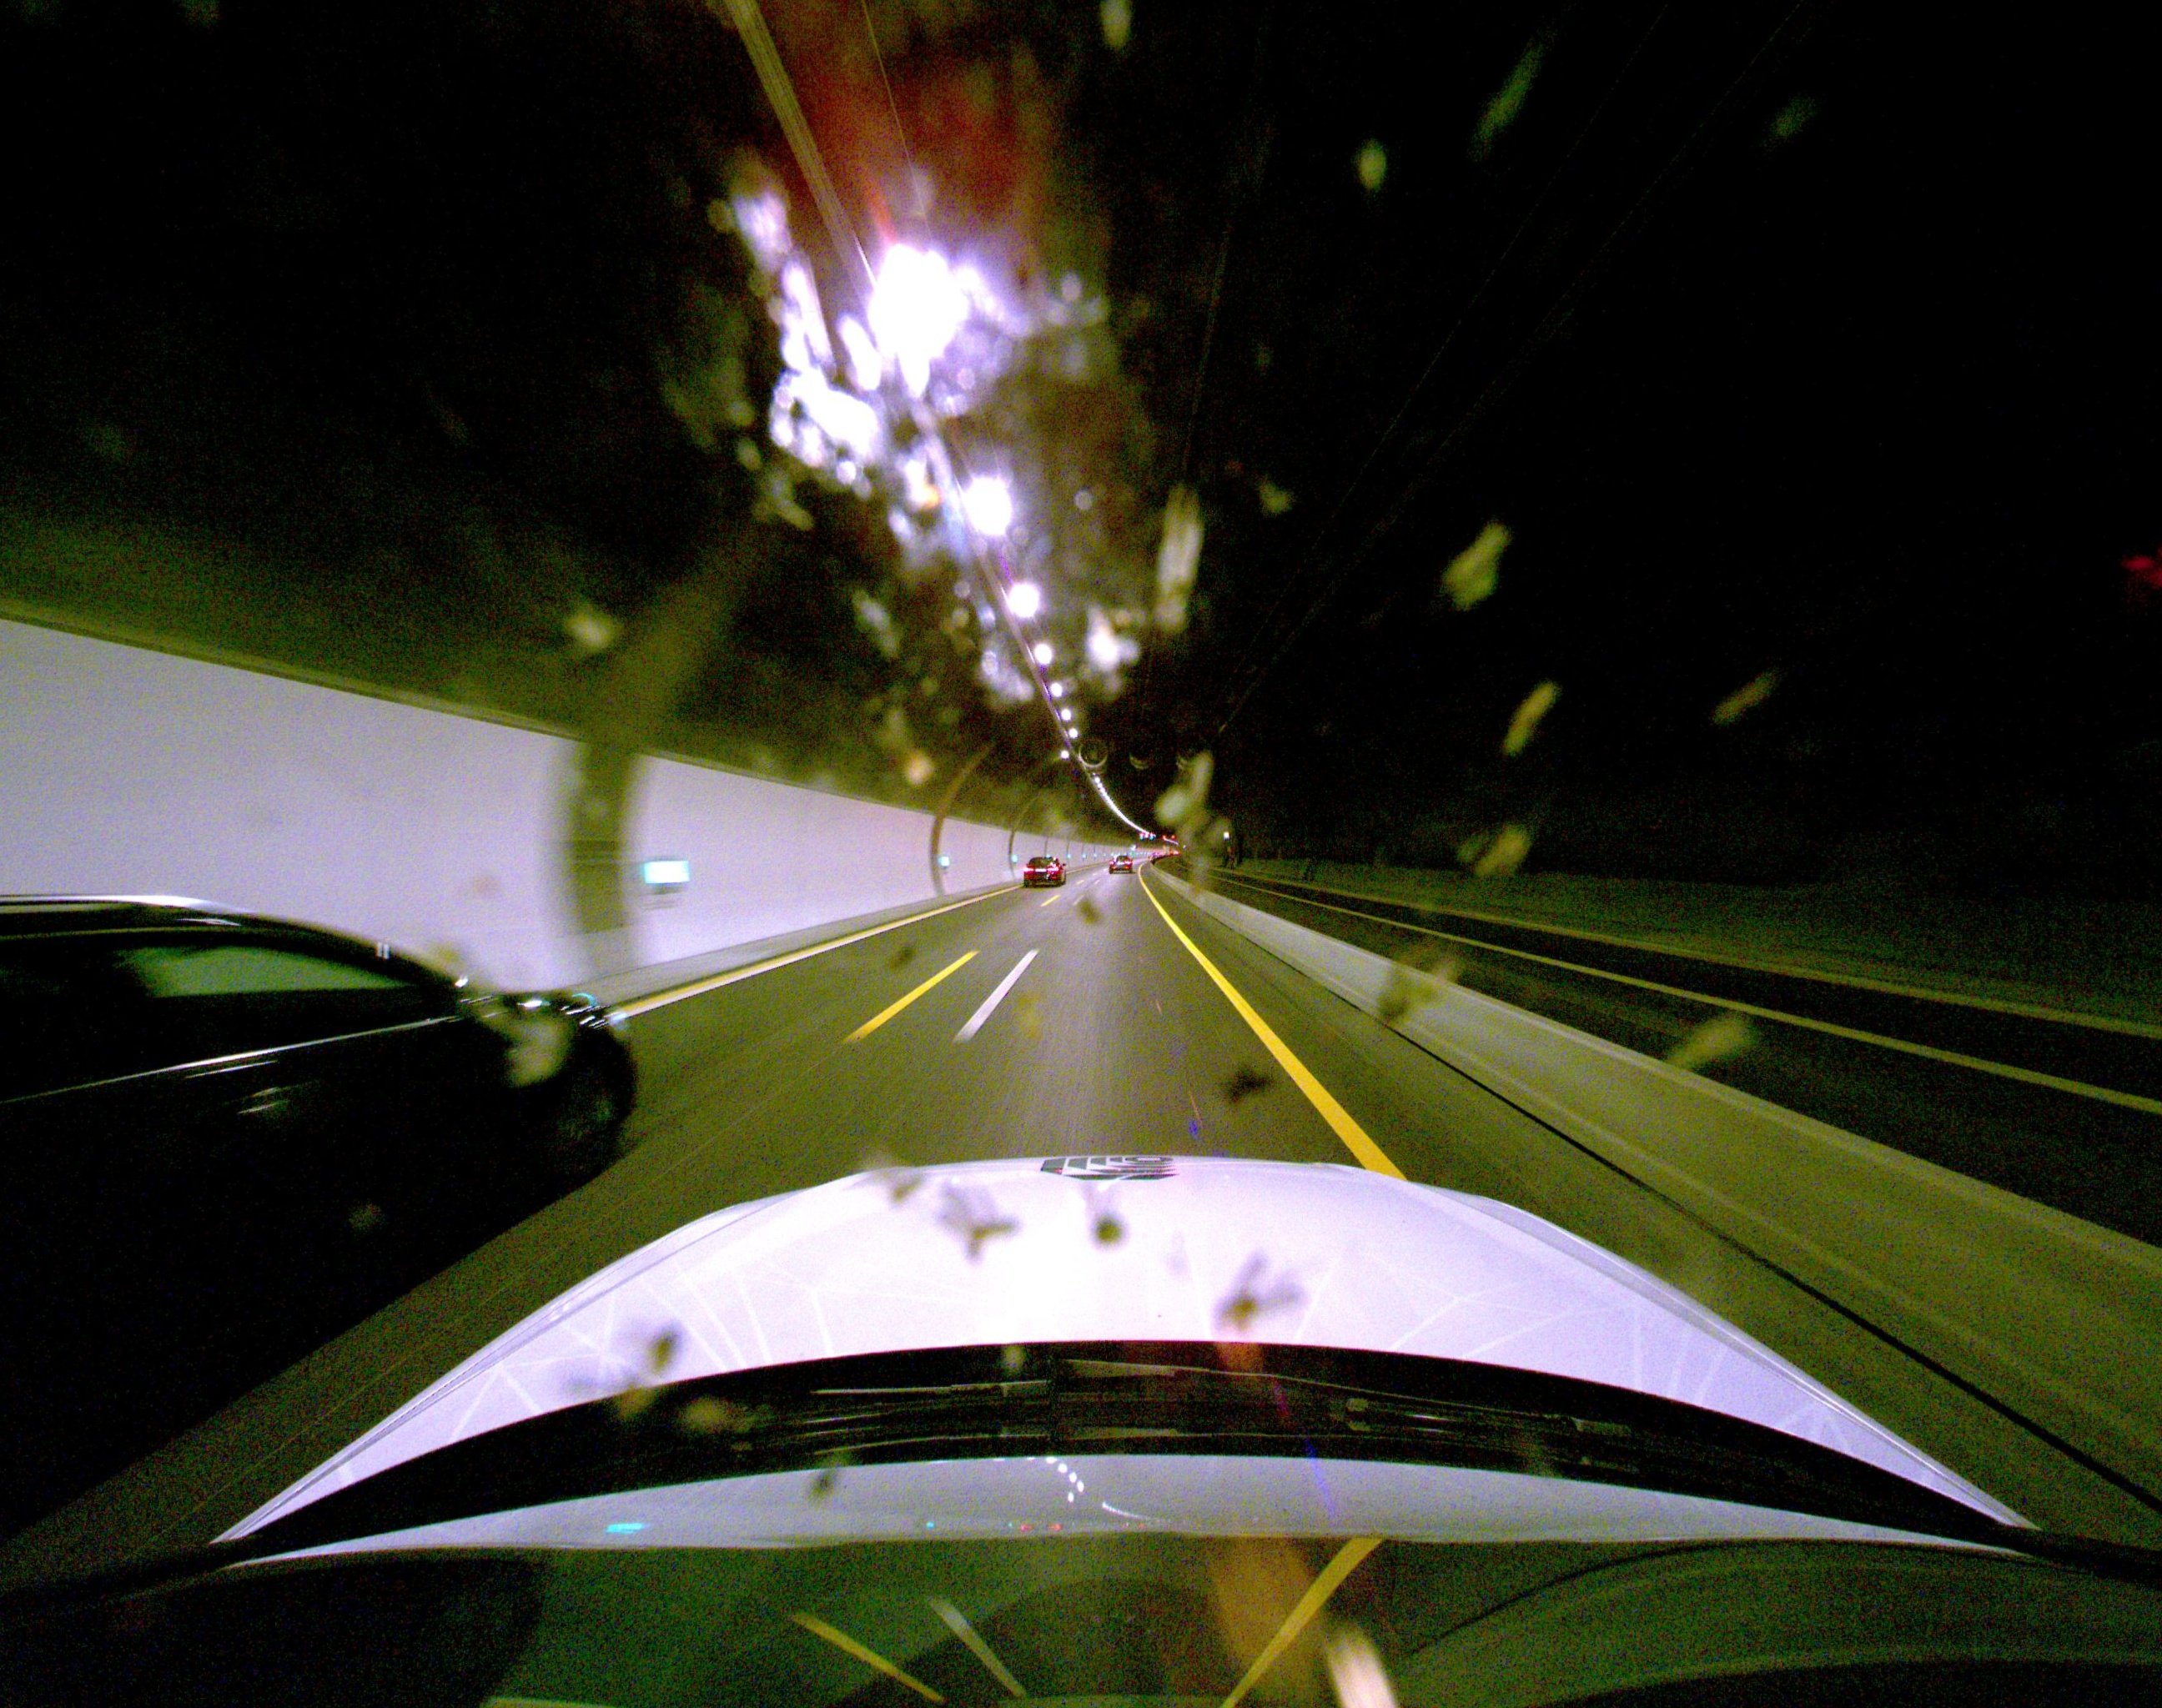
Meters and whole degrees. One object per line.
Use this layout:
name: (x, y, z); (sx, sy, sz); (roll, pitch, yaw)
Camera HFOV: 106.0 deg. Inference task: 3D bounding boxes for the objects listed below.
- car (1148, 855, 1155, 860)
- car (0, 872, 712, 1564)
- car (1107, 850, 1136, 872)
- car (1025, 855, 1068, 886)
car: (19.197, 0.824, 221.847); (1.587, 1.333, 3.757); (-1, 0, 7)
car: (-3.220, 0.835, 2.508); (1.771, 1.438, 4.885); (0, 0, 2)
car: (3.292, 0.577, 65.923); (2.131, 1.706, 4.006); (-1, 0, 5)
car: (-1.656, 0.802, 40.964); (1.771, 1.438, 4.885); (0, 0, 2)
